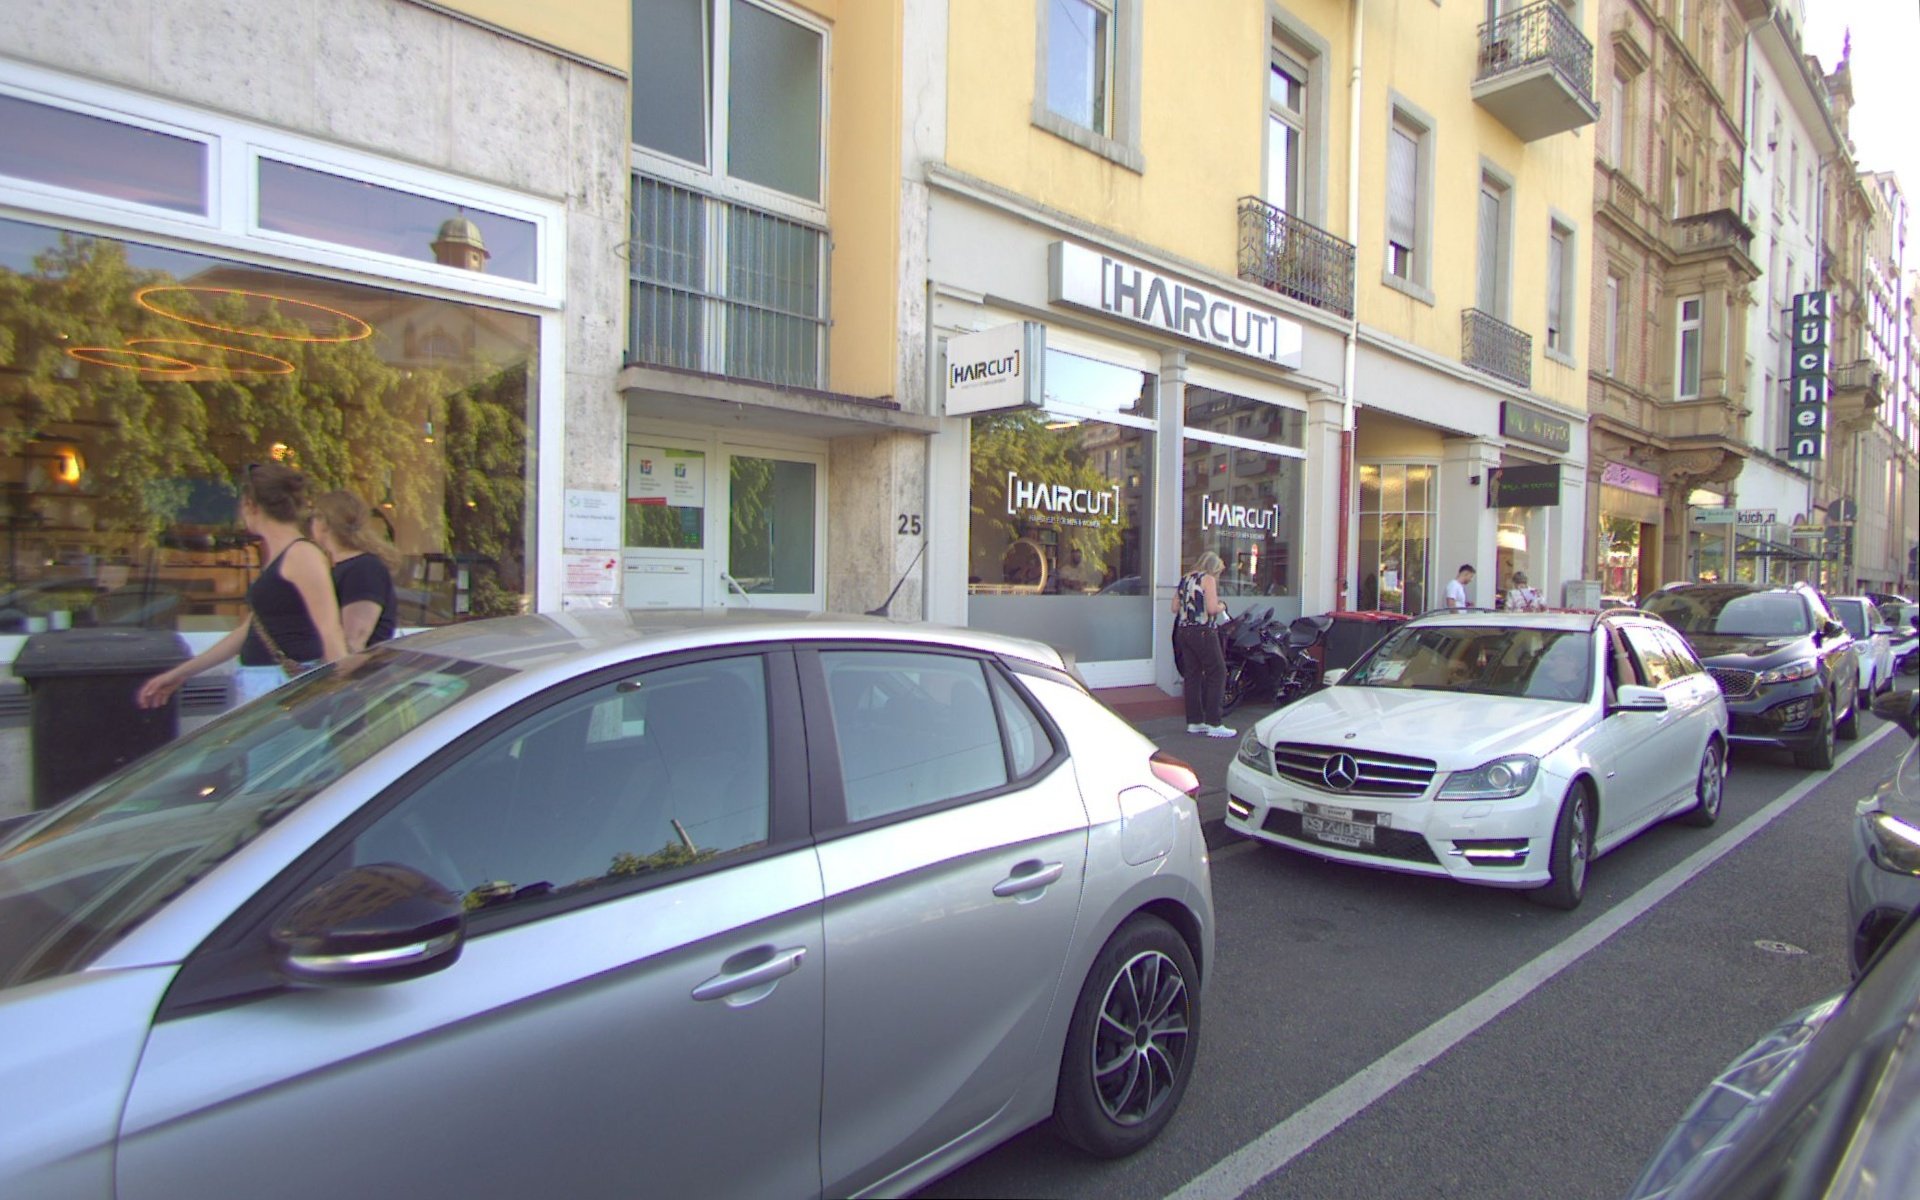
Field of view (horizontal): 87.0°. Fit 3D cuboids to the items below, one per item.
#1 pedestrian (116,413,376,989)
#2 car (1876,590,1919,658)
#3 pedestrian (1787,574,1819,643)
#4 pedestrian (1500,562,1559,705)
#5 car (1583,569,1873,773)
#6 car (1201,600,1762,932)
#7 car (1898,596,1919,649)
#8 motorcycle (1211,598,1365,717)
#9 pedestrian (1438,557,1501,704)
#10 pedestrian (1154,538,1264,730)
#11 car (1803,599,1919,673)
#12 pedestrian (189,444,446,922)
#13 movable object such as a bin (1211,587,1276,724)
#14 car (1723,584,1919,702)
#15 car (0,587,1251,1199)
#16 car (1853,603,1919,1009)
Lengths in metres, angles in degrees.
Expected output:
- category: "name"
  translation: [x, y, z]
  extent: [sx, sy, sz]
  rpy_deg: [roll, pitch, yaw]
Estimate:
- category: "pedestrian"
  translation: [-2.419, 0.291, 3.423]
  extent: [0.636, 1.686, 0.658]
  rpy_deg: [0, 0, -43]
- category: "car"
  translation: [22.256, 0.509, 23.082]
  extent: [4.016, 1.450, 1.657]
  rpy_deg: [-1, 0, -42]
- category: "pedestrian"
  translation: [23.318, 0.217, 27.990]
  extent: [0.653, 1.874, 0.574]
  rpy_deg: [0, 0, -40]
- category: "pedestrian"
  translation: [7.688, 0.435, 13.674]
  extent: [0.567, 1.874, 0.661]
  rpy_deg: [0, 0, 19]
- category: "car"
  translation: [7.968, 0.551, 10.350]
  extent: [4.176, 1.659, 1.799]
  rpy_deg: [-1, 0, -45]
- category: "car"
  translation: [3.521, 0.717, 6.425]
  extent: [4.302, 1.376, 1.703]
  rpy_deg: [-1, 0, -41]
- category: "car"
  translation: [26.534, 0.578, 27.078]
  extent: [3.773, 1.357, 1.800]
  rpy_deg: [-1, 1, -42]
- category: "motorcycle"
  translation: [3.437, 0.549, 10.529]
  extent: [1.920, 1.091, 0.567]
  rpy_deg: [-1, 4, -41]
- category: "pedestrian"
  translation: [7.061, 0.414, 14.038]
  extent: [0.679, 2.008, 0.375]
  rpy_deg: [1, 1, -18]
- category: "pedestrian"
  translation: [2.278, 0.278, 9.286]
  extent: [0.595, 1.674, 0.719]
  rpy_deg: [0, 3, -40]
- category: "car"
  translation: [18.118, 0.645, 19.939]
  extent: [4.016, 1.282, 1.800]
  rpy_deg: [-1, 1, -42]
- category: "pedestrian"
  translation: [-2.650, 0.307, 4.208]
  extent: [0.733, 1.806, 0.565]
  rpy_deg: [1, 0, 18]
- category: "movable object such as a bin"
  translation: [2.682, 0.509, 9.582]
  extent: [0.387, 1.253, 0.391]
  rpy_deg: [0, 3, -41]
- category: "car"
  translation: [13.110, 0.544, 15.315]
  extent: [4.016, 1.546, 1.800]
  rpy_deg: [-1, 0, -42]
- category: "car"
  translation: [-1.004, 0.698, 2.283]
  extent: [3.597, 1.445, 1.549]
  rpy_deg: [-1, 1, -42]
- category: "car"
  translation: [5.264, 0.706, 4.222]
  extent: [3.930, 1.376, 1.801]
  rpy_deg: [-1, 1, -41]
